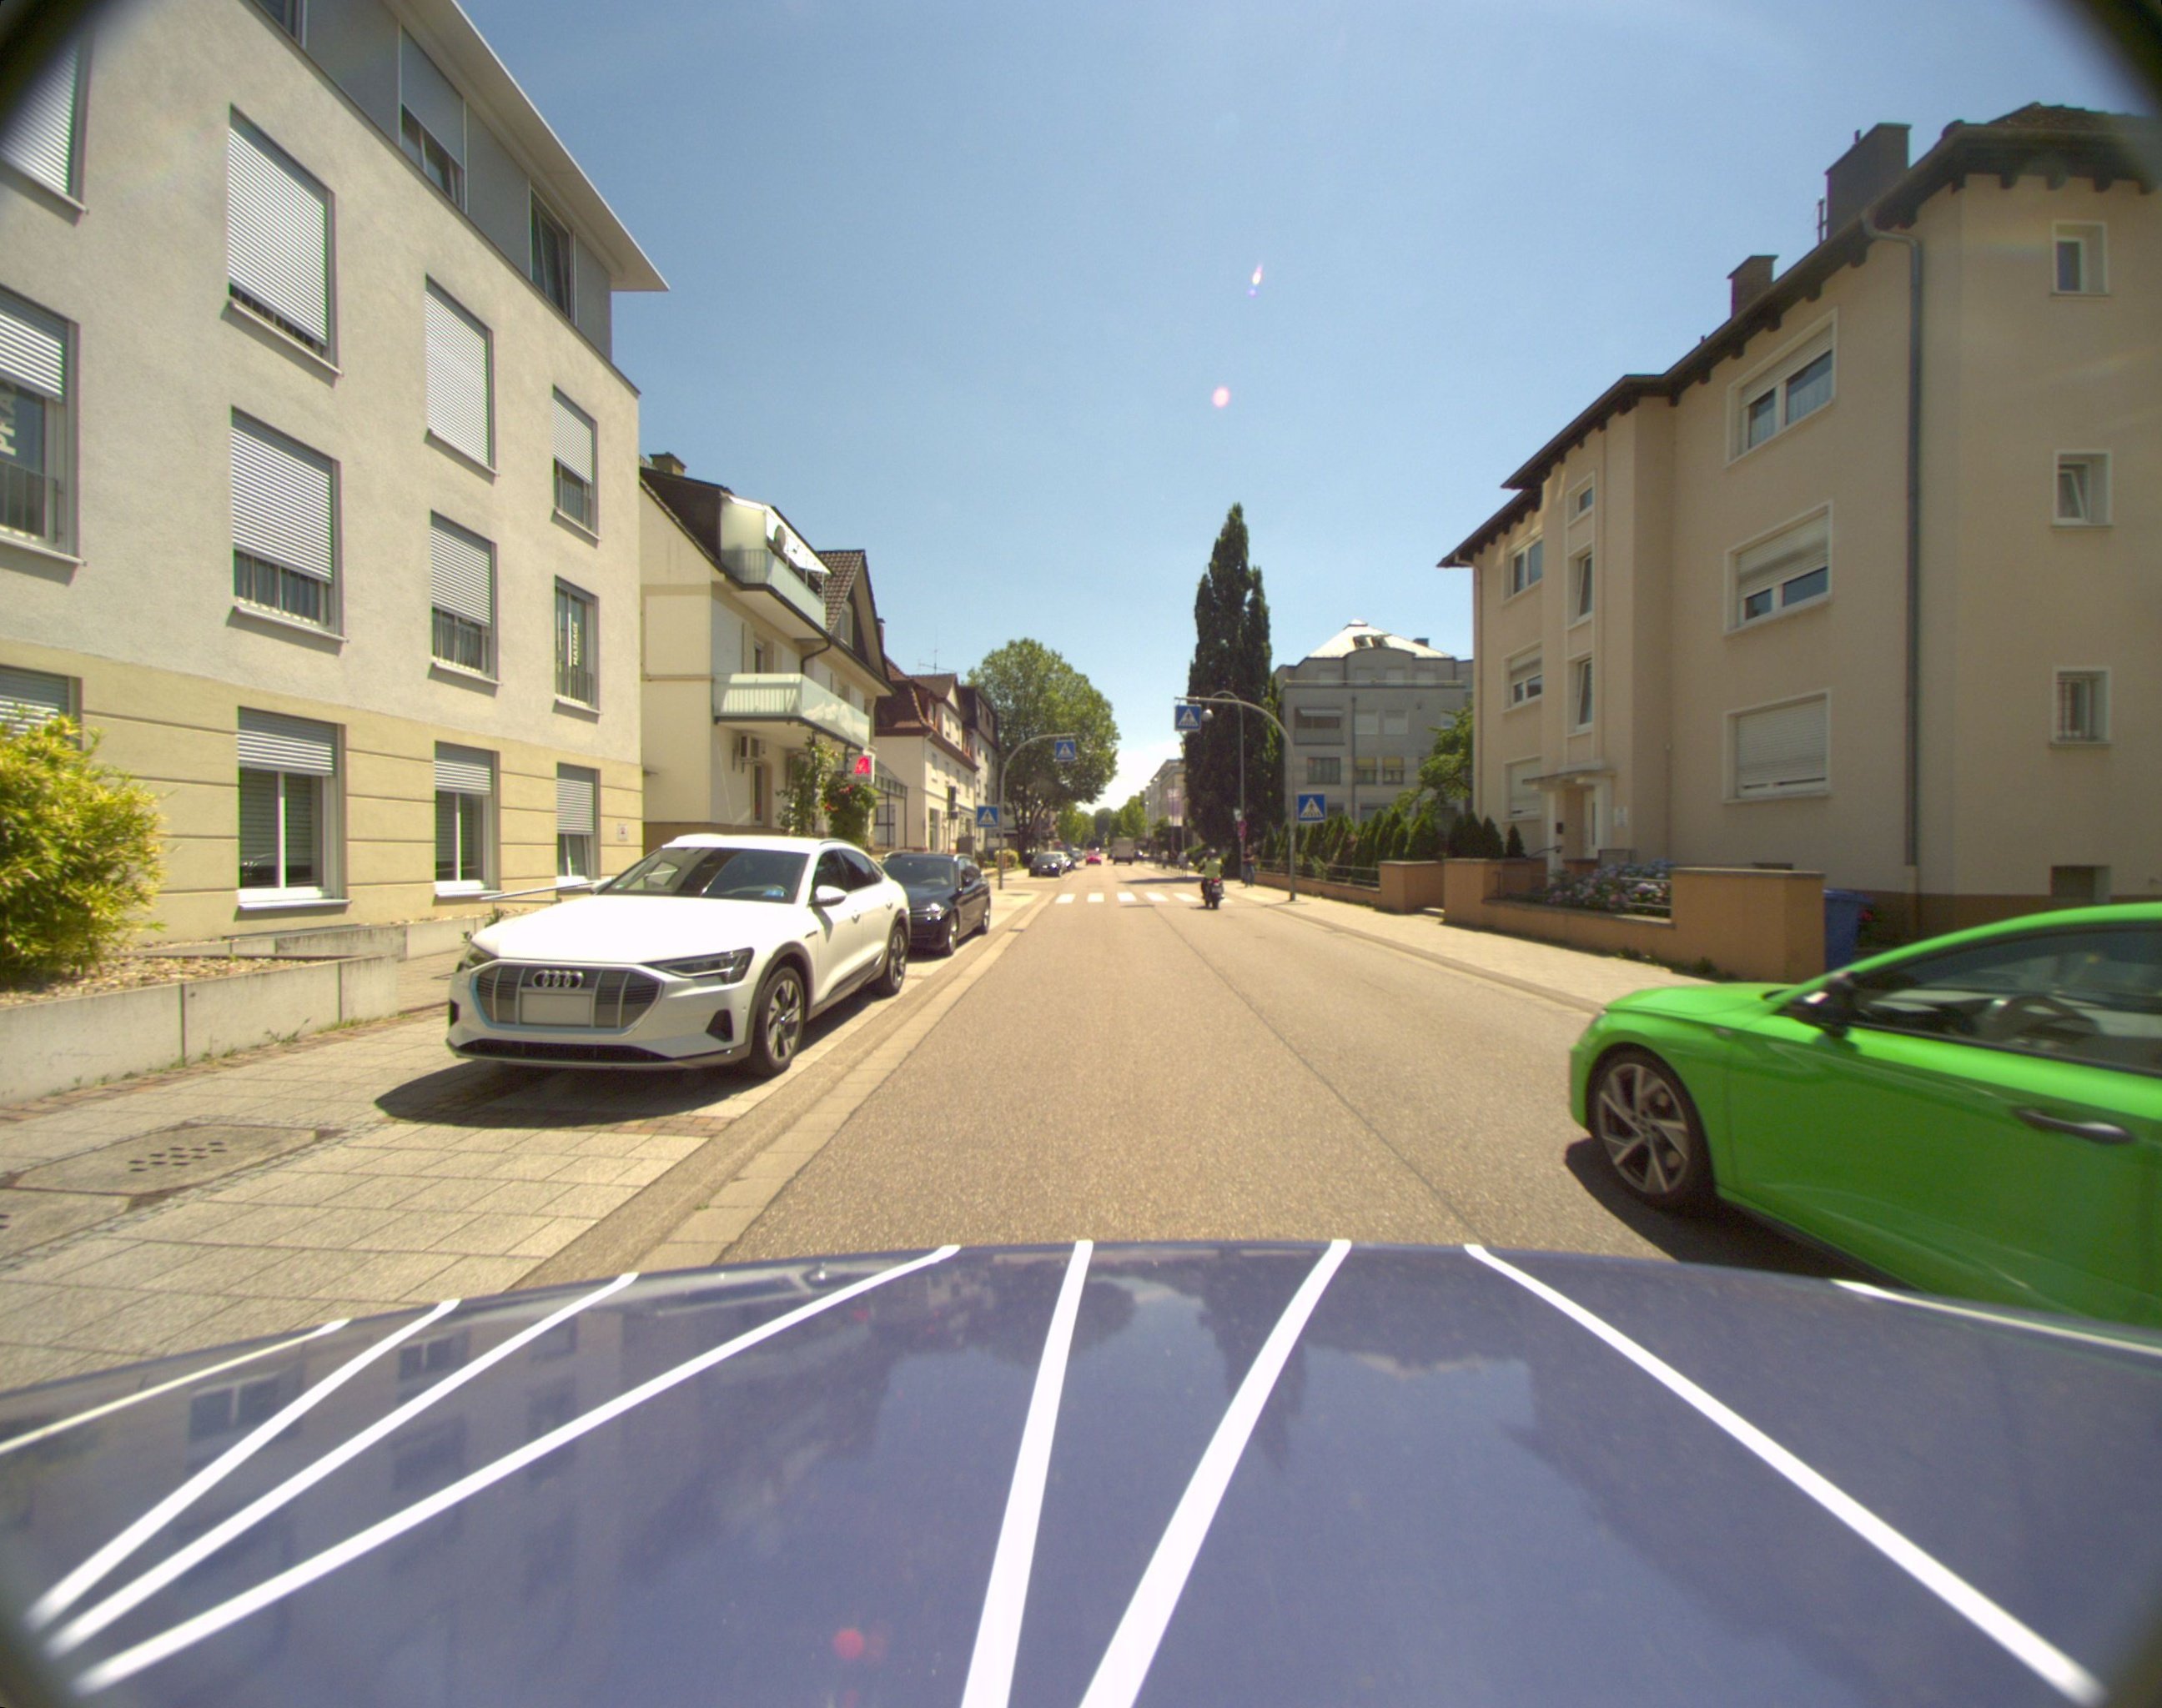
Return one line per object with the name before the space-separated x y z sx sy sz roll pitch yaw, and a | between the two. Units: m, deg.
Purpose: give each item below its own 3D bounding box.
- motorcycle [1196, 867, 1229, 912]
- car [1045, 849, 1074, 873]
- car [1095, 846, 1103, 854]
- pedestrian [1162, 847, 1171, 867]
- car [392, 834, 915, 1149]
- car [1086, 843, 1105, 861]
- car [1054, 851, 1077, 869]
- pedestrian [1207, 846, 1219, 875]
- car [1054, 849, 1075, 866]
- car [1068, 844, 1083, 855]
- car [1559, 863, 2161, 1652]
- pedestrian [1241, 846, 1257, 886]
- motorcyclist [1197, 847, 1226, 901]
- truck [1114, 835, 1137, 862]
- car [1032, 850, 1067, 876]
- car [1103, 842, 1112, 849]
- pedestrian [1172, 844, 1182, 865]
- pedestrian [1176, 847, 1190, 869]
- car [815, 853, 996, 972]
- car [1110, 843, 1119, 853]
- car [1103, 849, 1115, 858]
motorcycle | 3.498 0.923 20.286 0.700 1.101 1.790 0 1 4
car | -1.453 0.443 52.559 1.748 1.460 4.851 2 1 1
car | 4.067 -0.897 171.504 1.698 1.594 3.812 0 1 0
pedestrian | 7.338 0.258 65.253 0.622 1.667 0.903 -3 1 0
car | -2.846 0.731 6.436 1.709 1.656 4.580 2 1 2
car | 1.551 -0.229 83.857 2.000 1.880 4.294 -2 1 1
car | -1.163 0.436 58.171 1.561 1.333 4.173 1 1 1
pedestrian | 7.554 0.375 43.532 0.538 1.675 0.708 -1 1 1
car | -1.499 0.305 69.871 1.834 1.502 4.758 0 1 -1
car | -0.725 -0.582 105.759 1.818 1.379 4.114 5 1 1
car | 3.138 0.855 1.500 1.827 1.579 4.100 0 1 1
pedestrian | 7.039 0.489 31.834 0.538 1.675 0.708 -1 1 1
motorcyclist | 3.500 0.519 20.414 0.700 1.425 0.707 0 1 4
truck | 5.055 -0.651 86.391 2.425 2.966 6.258 0 1 2
car | -1.860 0.520 46.459 1.831 1.418 4.700 1 1 1
car | 5.764 -1.797 165.352 1.731 1.500 4.293 -2 1 0
pedestrian | 8.230 0.056 65.243 0.750 1.760 0.951 -1 1 0
pedestrian | 7.652 0.293 56.973 0.847 1.635 0.751 -3 1 3
car | -2.592 0.771 12.418 1.709 1.547 4.748 0 0 2
car | 7.646 -1.318 173.558 1.731 2.154 4.294 1 1 1
car | 4.719 -0.074 128.065 1.834 1.502 4.262 0 0 1
